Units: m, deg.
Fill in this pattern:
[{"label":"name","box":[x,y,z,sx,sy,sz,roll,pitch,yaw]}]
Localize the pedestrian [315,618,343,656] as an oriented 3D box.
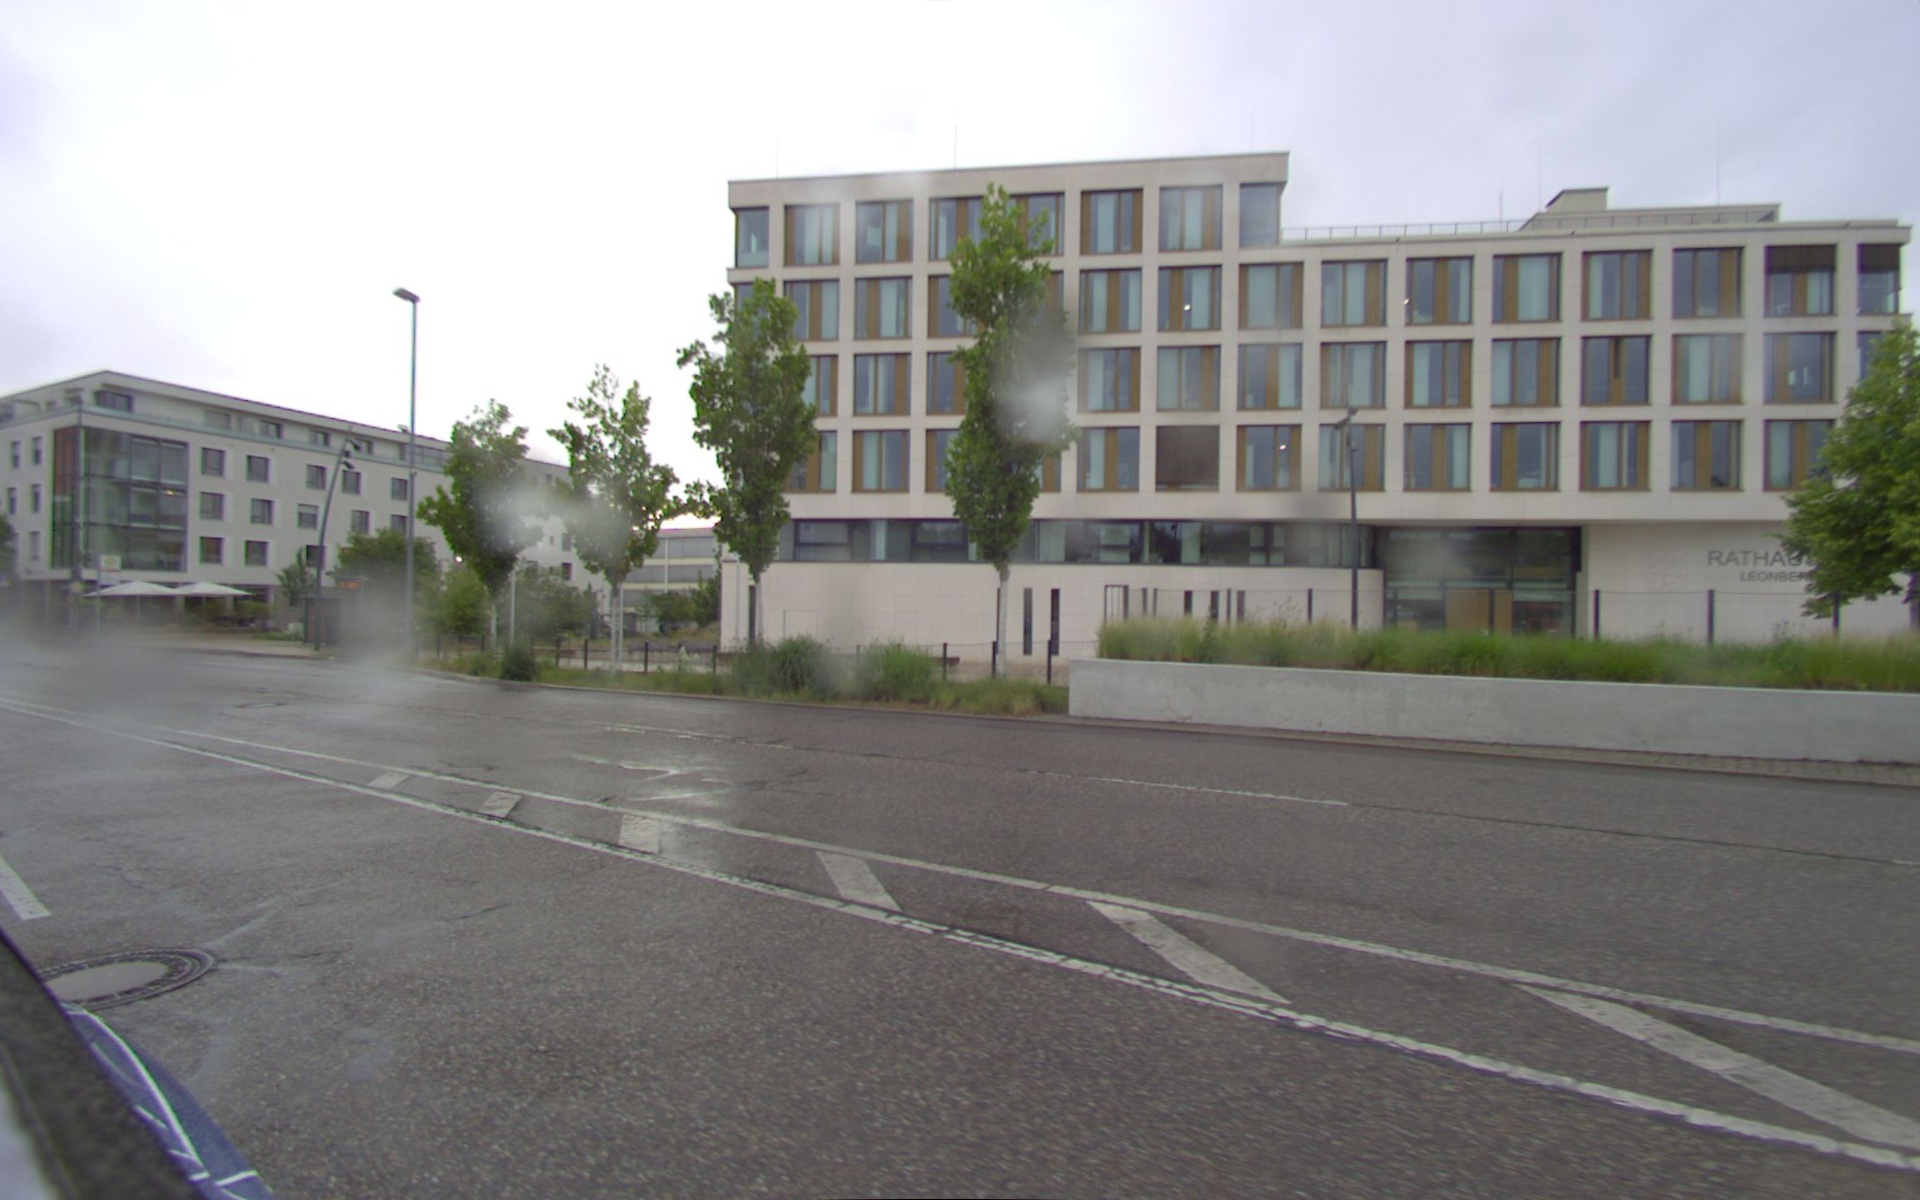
[{"label":"pedestrian","box":[-29.704,1.726,47.641,0.668,1.758,0.781,2,-1,16]}]
